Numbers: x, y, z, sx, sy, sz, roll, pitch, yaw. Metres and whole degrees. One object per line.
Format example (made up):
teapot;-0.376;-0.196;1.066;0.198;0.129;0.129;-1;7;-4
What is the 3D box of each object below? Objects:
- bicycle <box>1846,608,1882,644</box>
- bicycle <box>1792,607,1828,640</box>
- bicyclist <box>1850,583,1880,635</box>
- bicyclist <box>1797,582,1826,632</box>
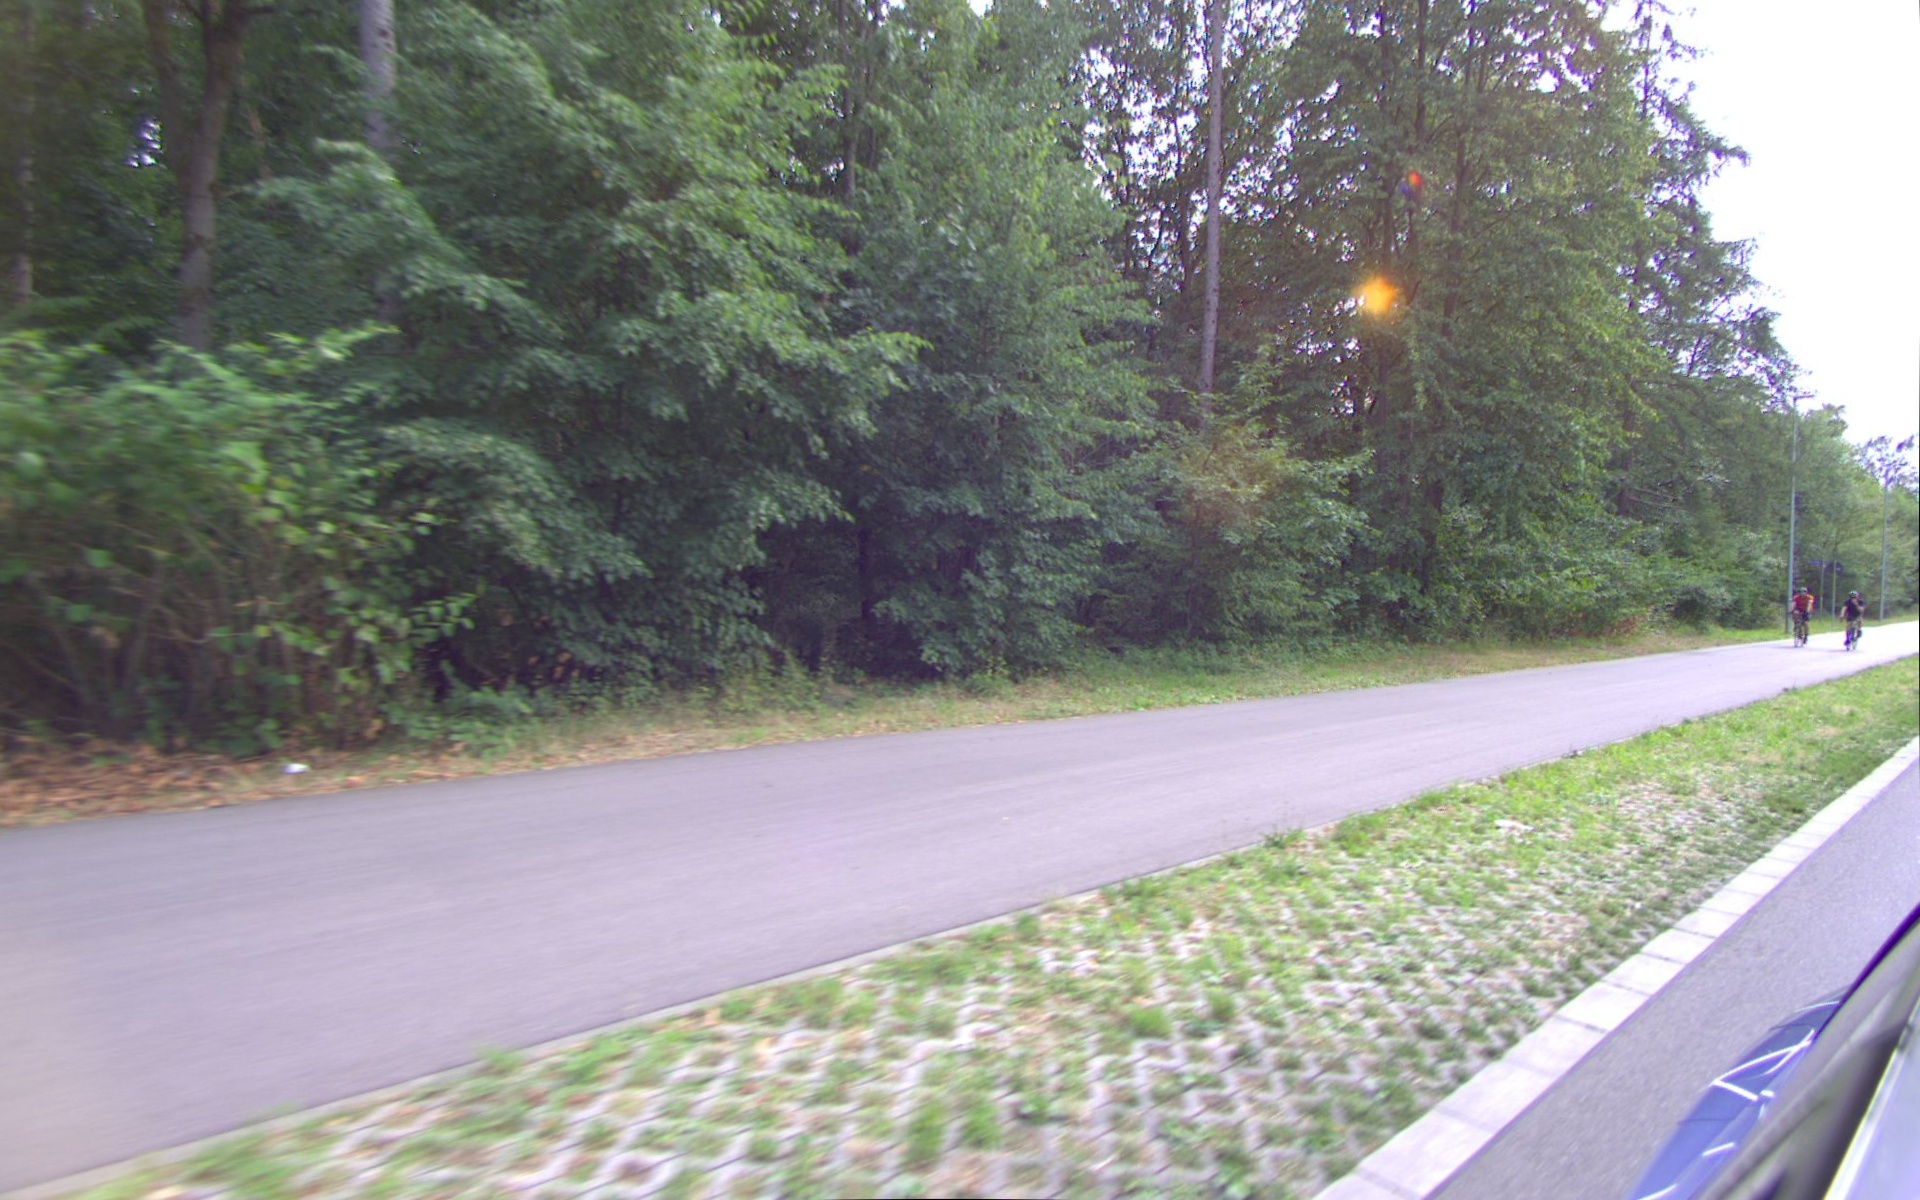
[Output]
bicycle;25.775;0.735;28.850;1.725;0.923;0.566;-1;4;-43
bicycle;24.911;0.684;29.655;1.855;0.923;0.566;1;2;-43
bicyclist;25.815;0.239;28.851;1.166;1.433;0.520;-1;2;-43
bicyclist;25.003;0.205;29.705;1.166;1.433;0.520;-1;0;-43
